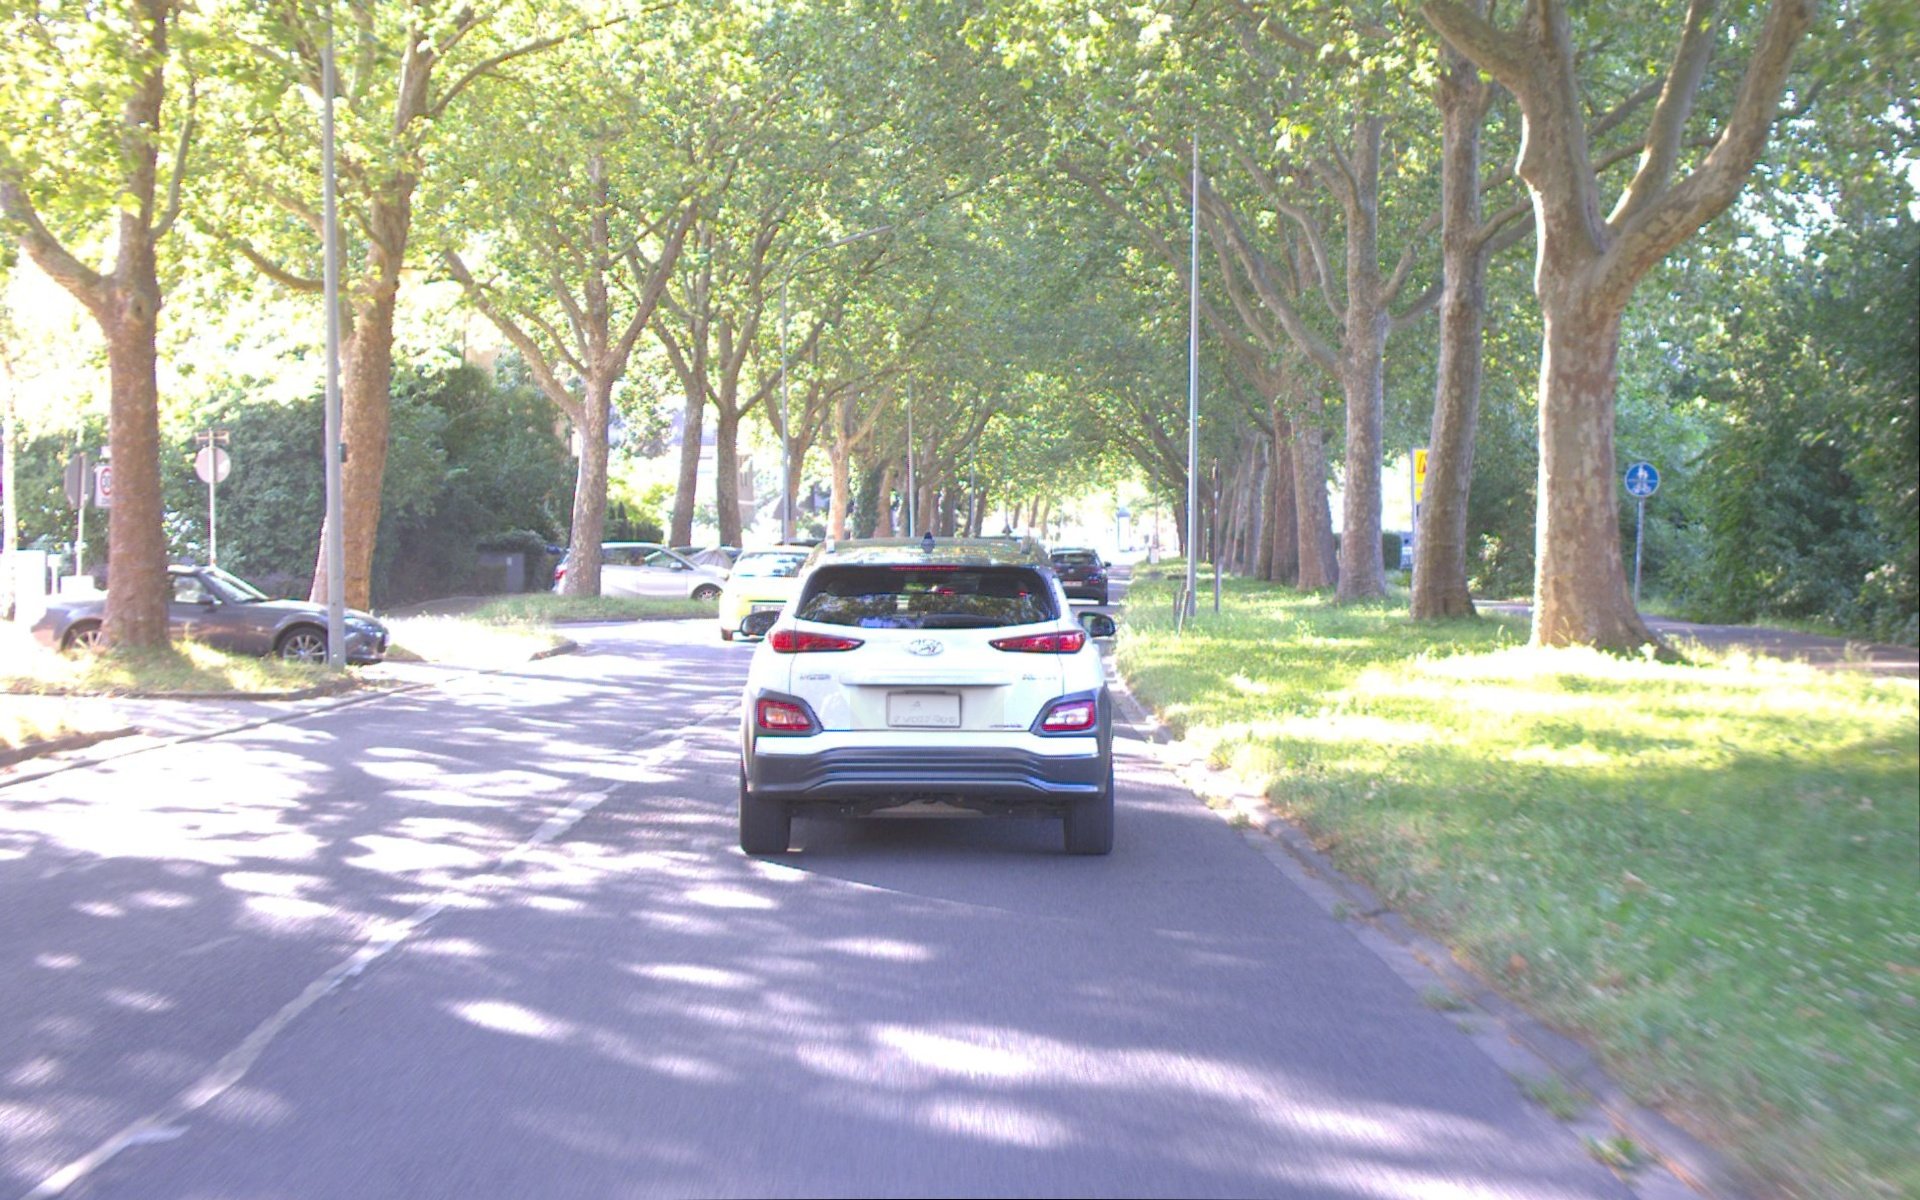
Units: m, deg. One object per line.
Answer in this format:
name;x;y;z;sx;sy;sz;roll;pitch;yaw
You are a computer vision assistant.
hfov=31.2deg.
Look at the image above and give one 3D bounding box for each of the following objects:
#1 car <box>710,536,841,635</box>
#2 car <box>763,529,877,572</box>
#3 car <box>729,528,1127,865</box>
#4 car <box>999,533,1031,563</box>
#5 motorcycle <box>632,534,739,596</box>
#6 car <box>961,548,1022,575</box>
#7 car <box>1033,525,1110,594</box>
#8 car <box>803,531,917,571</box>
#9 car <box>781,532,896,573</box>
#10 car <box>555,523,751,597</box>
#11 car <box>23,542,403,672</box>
car;-2.902;-0.257;54.746;1.784;1.507;3.838;0;1;1
car;-5.018;-1.795;123.530;3.987;1.515;1.809;0;1;2
car;-0.254;0.427;17.963;1.835;1.550;4.001;1;1;-3
car;2.612;-2.484;163.896;1.535;1.454;3.185;0;1;1
motorcycle;-6.246;-0.799;78.307;2.385;1.383;0.648;0;1;-2
car;2.117;-2.615;232.158;3.986;1.766;2.000;1;0;-1
car;2.776;-1.026;86.286;1.676;1.690;3.745;0;1;-2
car;-3.658;-1.798;125.797;3.987;1.465;1.809;0;1;5
car;-4.262;-1.661;120.758;3.987;1.419;1.809;0;1;-1
car;-6.743;-0.888;75.881;4.183;1.579;2.000;0;1;-1
car;-8.291;0.064;38.372;3.825;1.312;1.790;2;1;0
